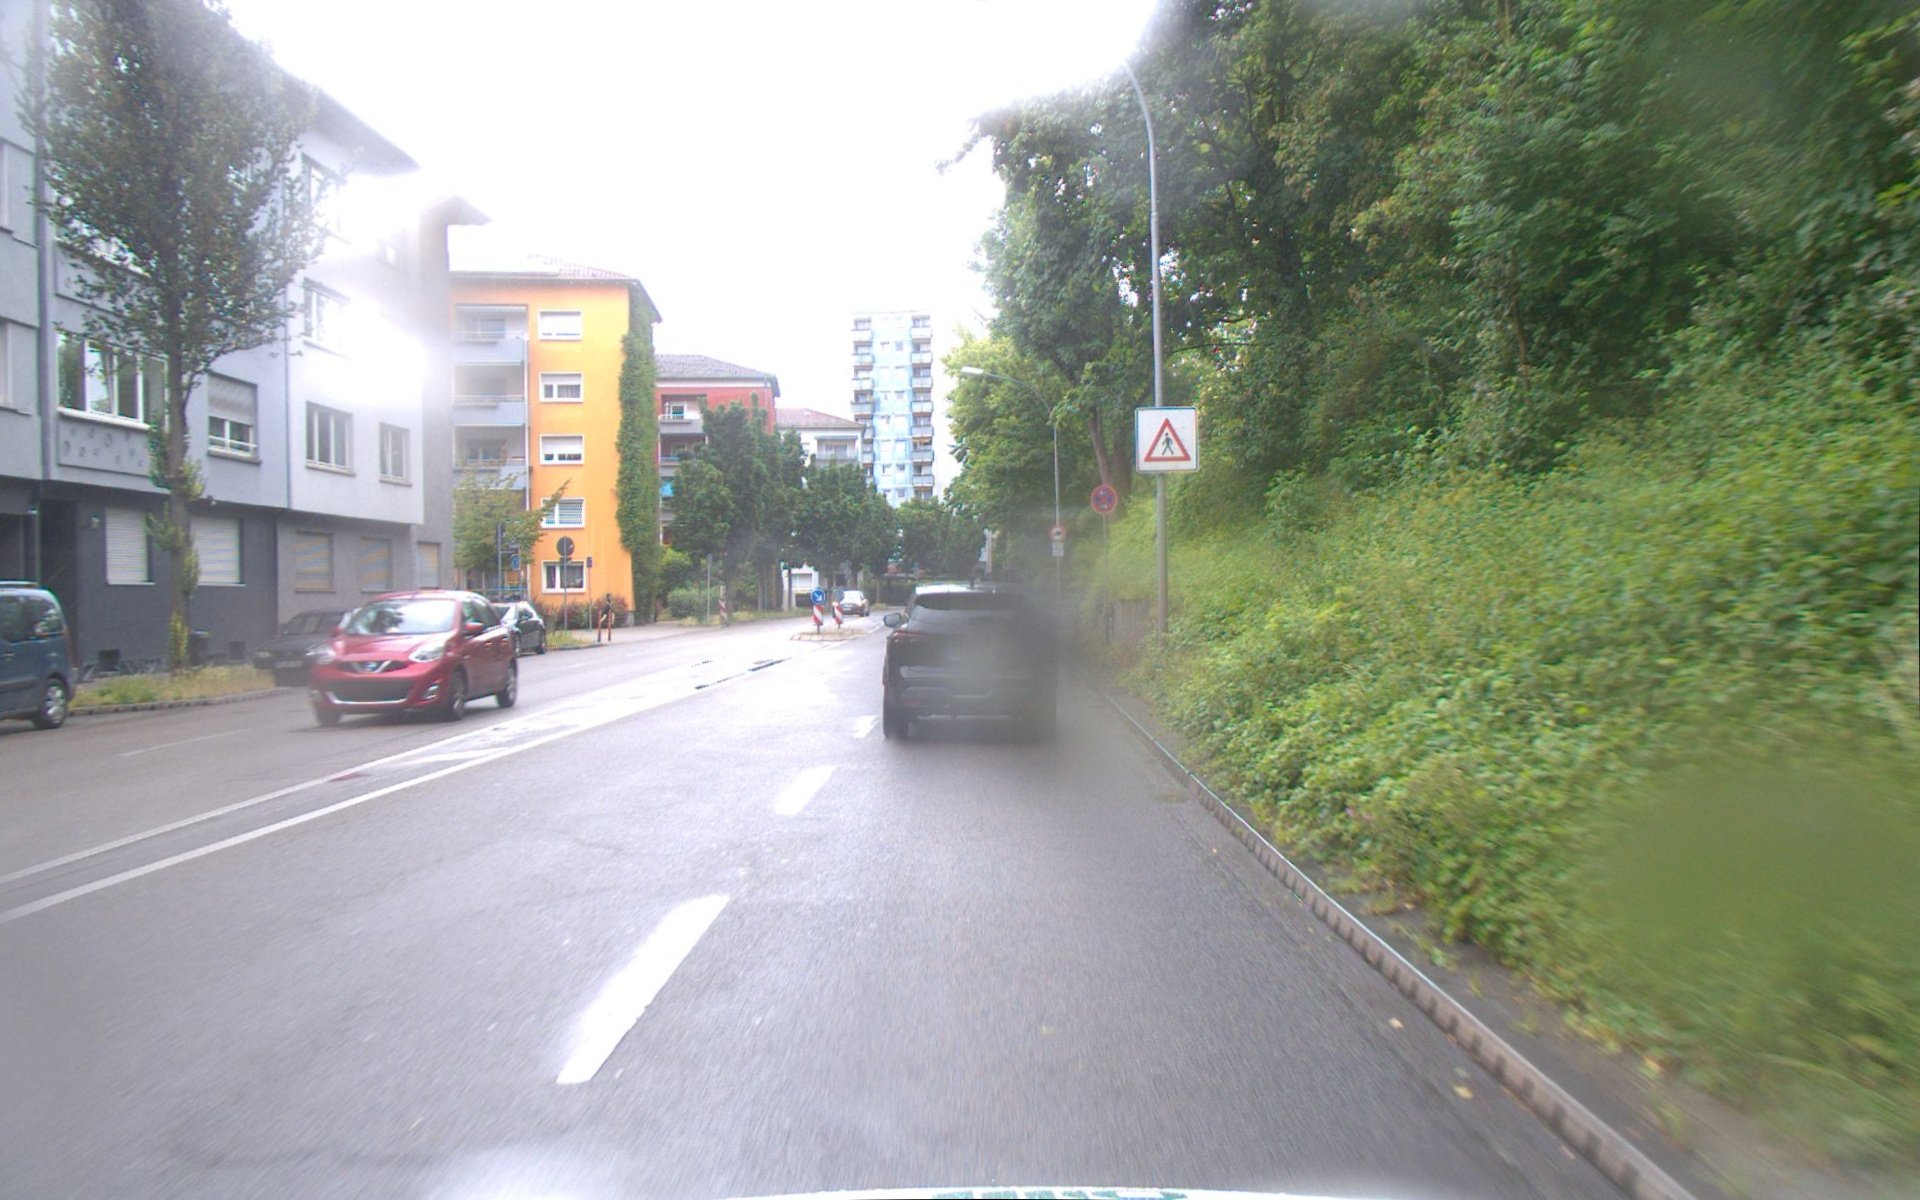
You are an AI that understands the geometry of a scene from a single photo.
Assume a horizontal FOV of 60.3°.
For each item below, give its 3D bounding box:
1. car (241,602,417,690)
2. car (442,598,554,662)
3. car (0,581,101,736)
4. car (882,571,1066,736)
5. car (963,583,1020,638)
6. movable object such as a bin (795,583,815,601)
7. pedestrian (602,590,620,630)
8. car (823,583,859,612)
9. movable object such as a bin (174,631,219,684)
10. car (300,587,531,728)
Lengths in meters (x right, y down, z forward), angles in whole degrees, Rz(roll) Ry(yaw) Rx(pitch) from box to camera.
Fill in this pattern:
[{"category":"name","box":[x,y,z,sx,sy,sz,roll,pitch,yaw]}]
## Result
[{"category":"car","box":[-12.171,0.838,32.218,1.654,1.381,4.578,-5,1,-1]},{"category":"car","box":[-12.186,0.760,43.898,1.678,1.450,4.322,-3,1,0]},{"category":"car","box":[-12.096,0.724,19.170,1.852,1.797,4.600,-3,0,-1]},{"category":"car","box":[0.119,0.500,18.225,1.807,1.610,4.000,0,1,-1]},{"category":"car","box":[1.036,0.329,55.962,1.848,1.741,4.000,-1,0,0]},{"category":"movable object such as a bin","box":[-11.799,-0.619,126.124,1.293,1.385,1.258,-2,1,1]},{"category":"pedestrian","box":[-14.984,0.416,71.012,0.596,1.703,0.594,-2,0,-3]},{"category":"car","box":[-6.727,-0.178,94.043,1.751,1.530,4.648,-3,1,-1]},{"category":"movable object such as a bin","box":[-12.904,0.967,27.957,0.460,0.831,0.609,-3,1,-2]},{"category":"car","box":[-6.565,0.624,20.326,1.672,1.504,3.679,-2,0,-2]}]
